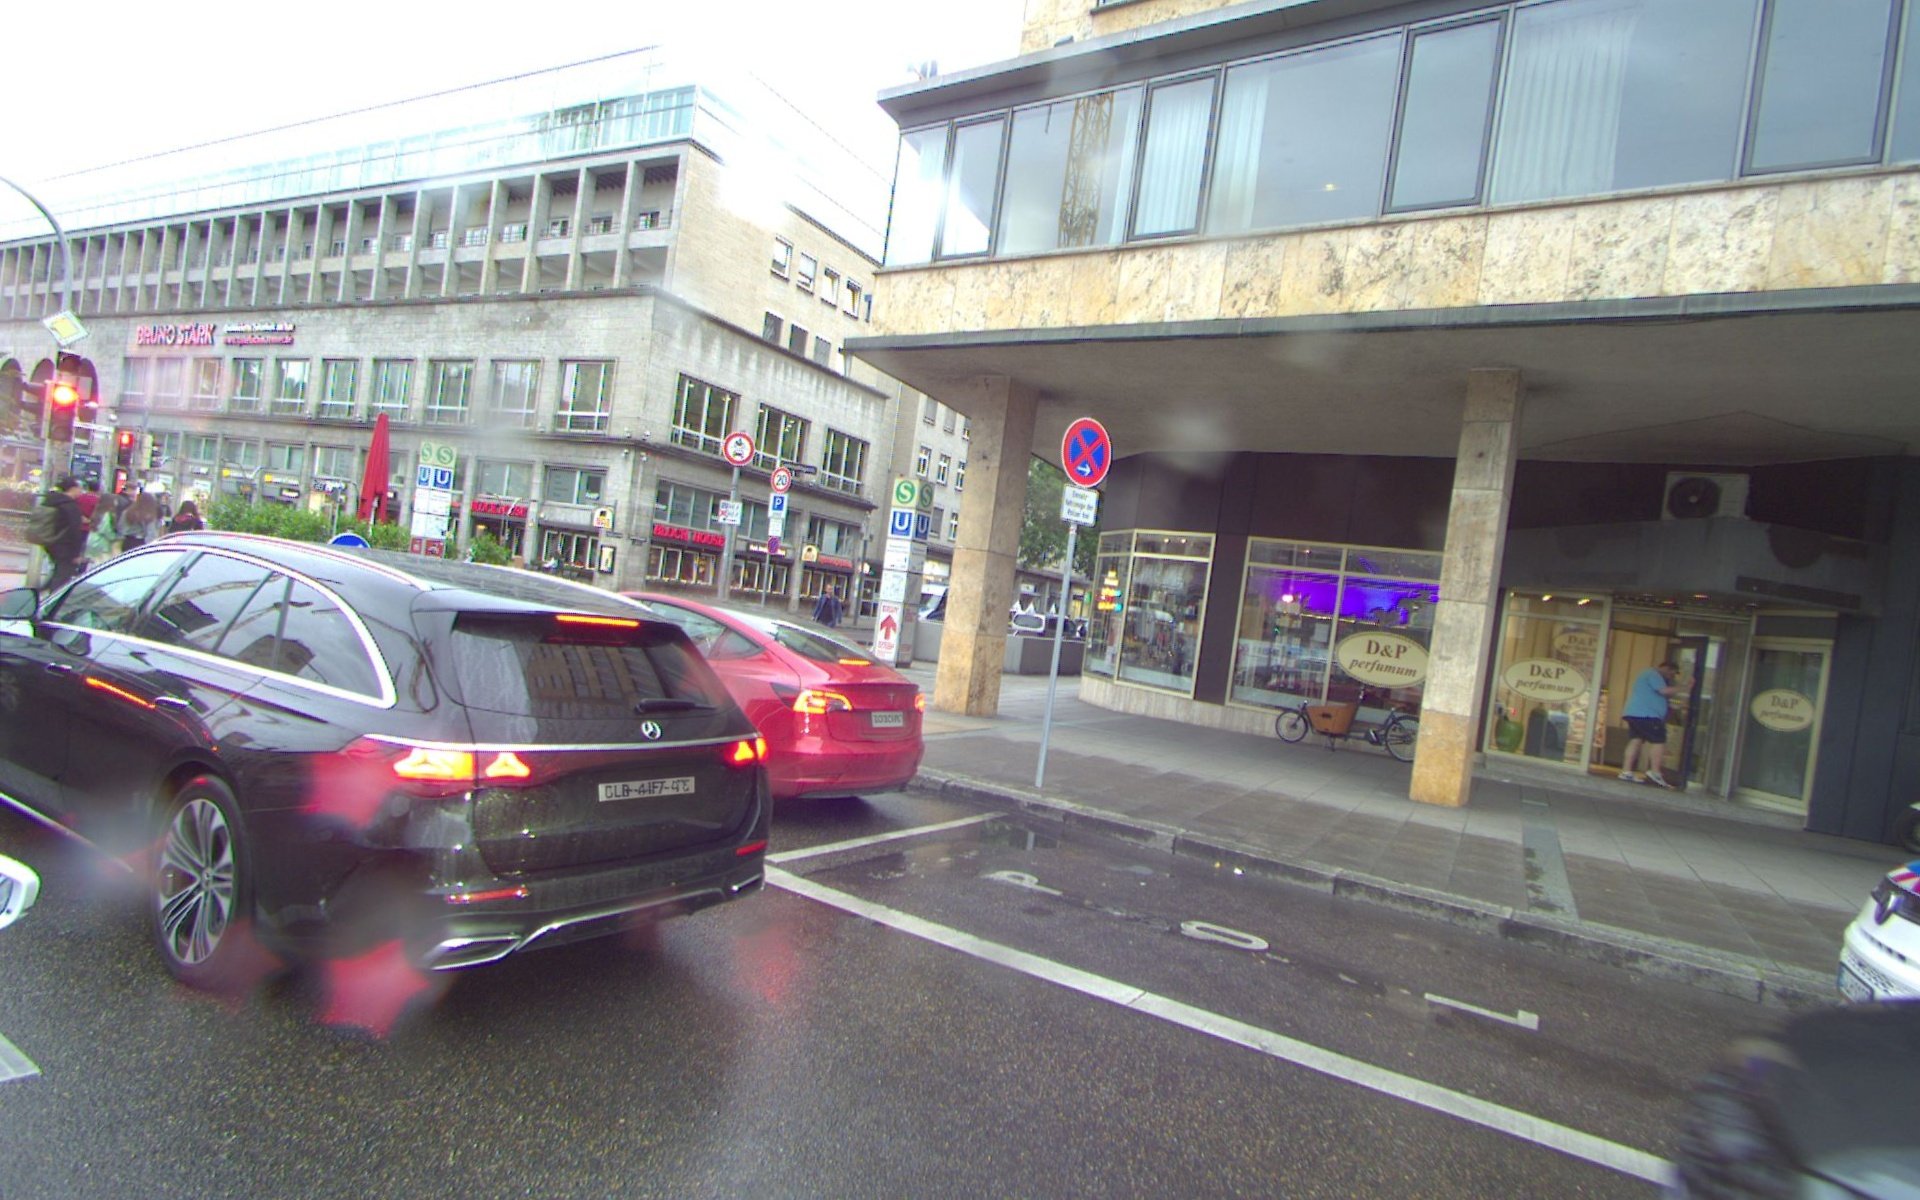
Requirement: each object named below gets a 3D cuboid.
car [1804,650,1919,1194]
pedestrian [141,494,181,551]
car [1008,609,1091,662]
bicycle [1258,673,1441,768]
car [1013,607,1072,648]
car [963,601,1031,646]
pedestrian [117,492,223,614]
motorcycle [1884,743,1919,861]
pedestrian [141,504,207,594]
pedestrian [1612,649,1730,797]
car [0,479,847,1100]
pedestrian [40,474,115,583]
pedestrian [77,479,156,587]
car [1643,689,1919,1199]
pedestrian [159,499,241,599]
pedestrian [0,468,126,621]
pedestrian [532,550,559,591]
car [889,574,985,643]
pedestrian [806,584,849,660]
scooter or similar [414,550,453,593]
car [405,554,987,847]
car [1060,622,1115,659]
[{"bbox_3d":[5.960,1.421,3.007,4.853,1.942,1.878,6,-2,31],"label":"car"},{"bbox_3d":[-30.807,-2.989,38.809,0.754,2.037,0.822,8,-1,-16],"label":"pedestrian"},{"bbox_3d":[4.229,1.697,46.828,1.966,1.995,4.638,7,-1,29],"label":"car"},{"bbox_3d":[5.910,1.807,15.355,2.431,1.058,0.657,6,-1,32],"label":"bicycle"},{"bbox_3d":[5.302,1.804,64.084,1.966,2.065,4.483,7,-2,29],"label":"car"},{"bbox_3d":[2.196,1.413,58.403,1.966,2.065,4.557,7,-2,29],"label":"car"},{"bbox_3d":[-11.719,-0.694,14.935,0.884,1.645,0.795,7,-1,28],"label":"pedestrian"},{"bbox_3d":[11.137,2.279,10.491,2.074,1.232,0.567,6,-2,40],"label":"motorcycle"},{"bbox_3d":[-13.952,-0.890,17.860,0.360,1.491,0.680,7,-1,27],"label":"pedestrian"},{"bbox_3d":[9.714,1.667,13.746,1.119,1.811,0.798,6,-1,39],"label":"pedestrian"},{"bbox_3d":[-2.941,0.418,4.580,4.552,1.519,1.797,6,-2,32],"label":"car"},{"bbox_3d":[-15.377,-1.224,17.537,0.561,1.772,0.678,7,-1,-15],"label":"pedestrian"},{"bbox_3d":[-14.591,-1.149,17.417,0.458,1.737,0.757,7,-1,28],"label":"pedestrian"},{"bbox_3d":[3.301,1.159,0.878,4.271,1.519,1.882,6,-2,32],"label":"car"},{"bbox_3d":[-13.424,-0.894,17.780,0.609,1.627,0.801,7,-1,28],"label":"pedestrian"},{"bbox_3d":[-11.273,-0.674,12.542,0.642,1.774,1.097,7,2,29],"label":"pedestrian"},{"bbox_3d":[-16.472,-1.173,40.024,0.748,1.530,0.714,8,-1,-16],"label":"pedestrian"},{"bbox_3d":[-1.066,0.497,51.184,1.965,2.792,6.187,7,-2,27],"label":"car"},{"bbox_3d":[-3.252,0.539,24.692,0.768,1.777,0.503,8,-1,-15],"label":"pedestrian"},{"bbox_3d":[-16.370,-0.884,31.269,1.000,1.203,0.291,7,-1,13],"label":"scooter or similar"},{"bbox_3d":[-2.243,0.659,8.169,4.451,1.503,1.879,6,-2,31],"label":"car"},{"bbox_3d":[8.987,2.874,70.646,1.966,2.065,4.832,7,-2,30],"label":"car"}]
